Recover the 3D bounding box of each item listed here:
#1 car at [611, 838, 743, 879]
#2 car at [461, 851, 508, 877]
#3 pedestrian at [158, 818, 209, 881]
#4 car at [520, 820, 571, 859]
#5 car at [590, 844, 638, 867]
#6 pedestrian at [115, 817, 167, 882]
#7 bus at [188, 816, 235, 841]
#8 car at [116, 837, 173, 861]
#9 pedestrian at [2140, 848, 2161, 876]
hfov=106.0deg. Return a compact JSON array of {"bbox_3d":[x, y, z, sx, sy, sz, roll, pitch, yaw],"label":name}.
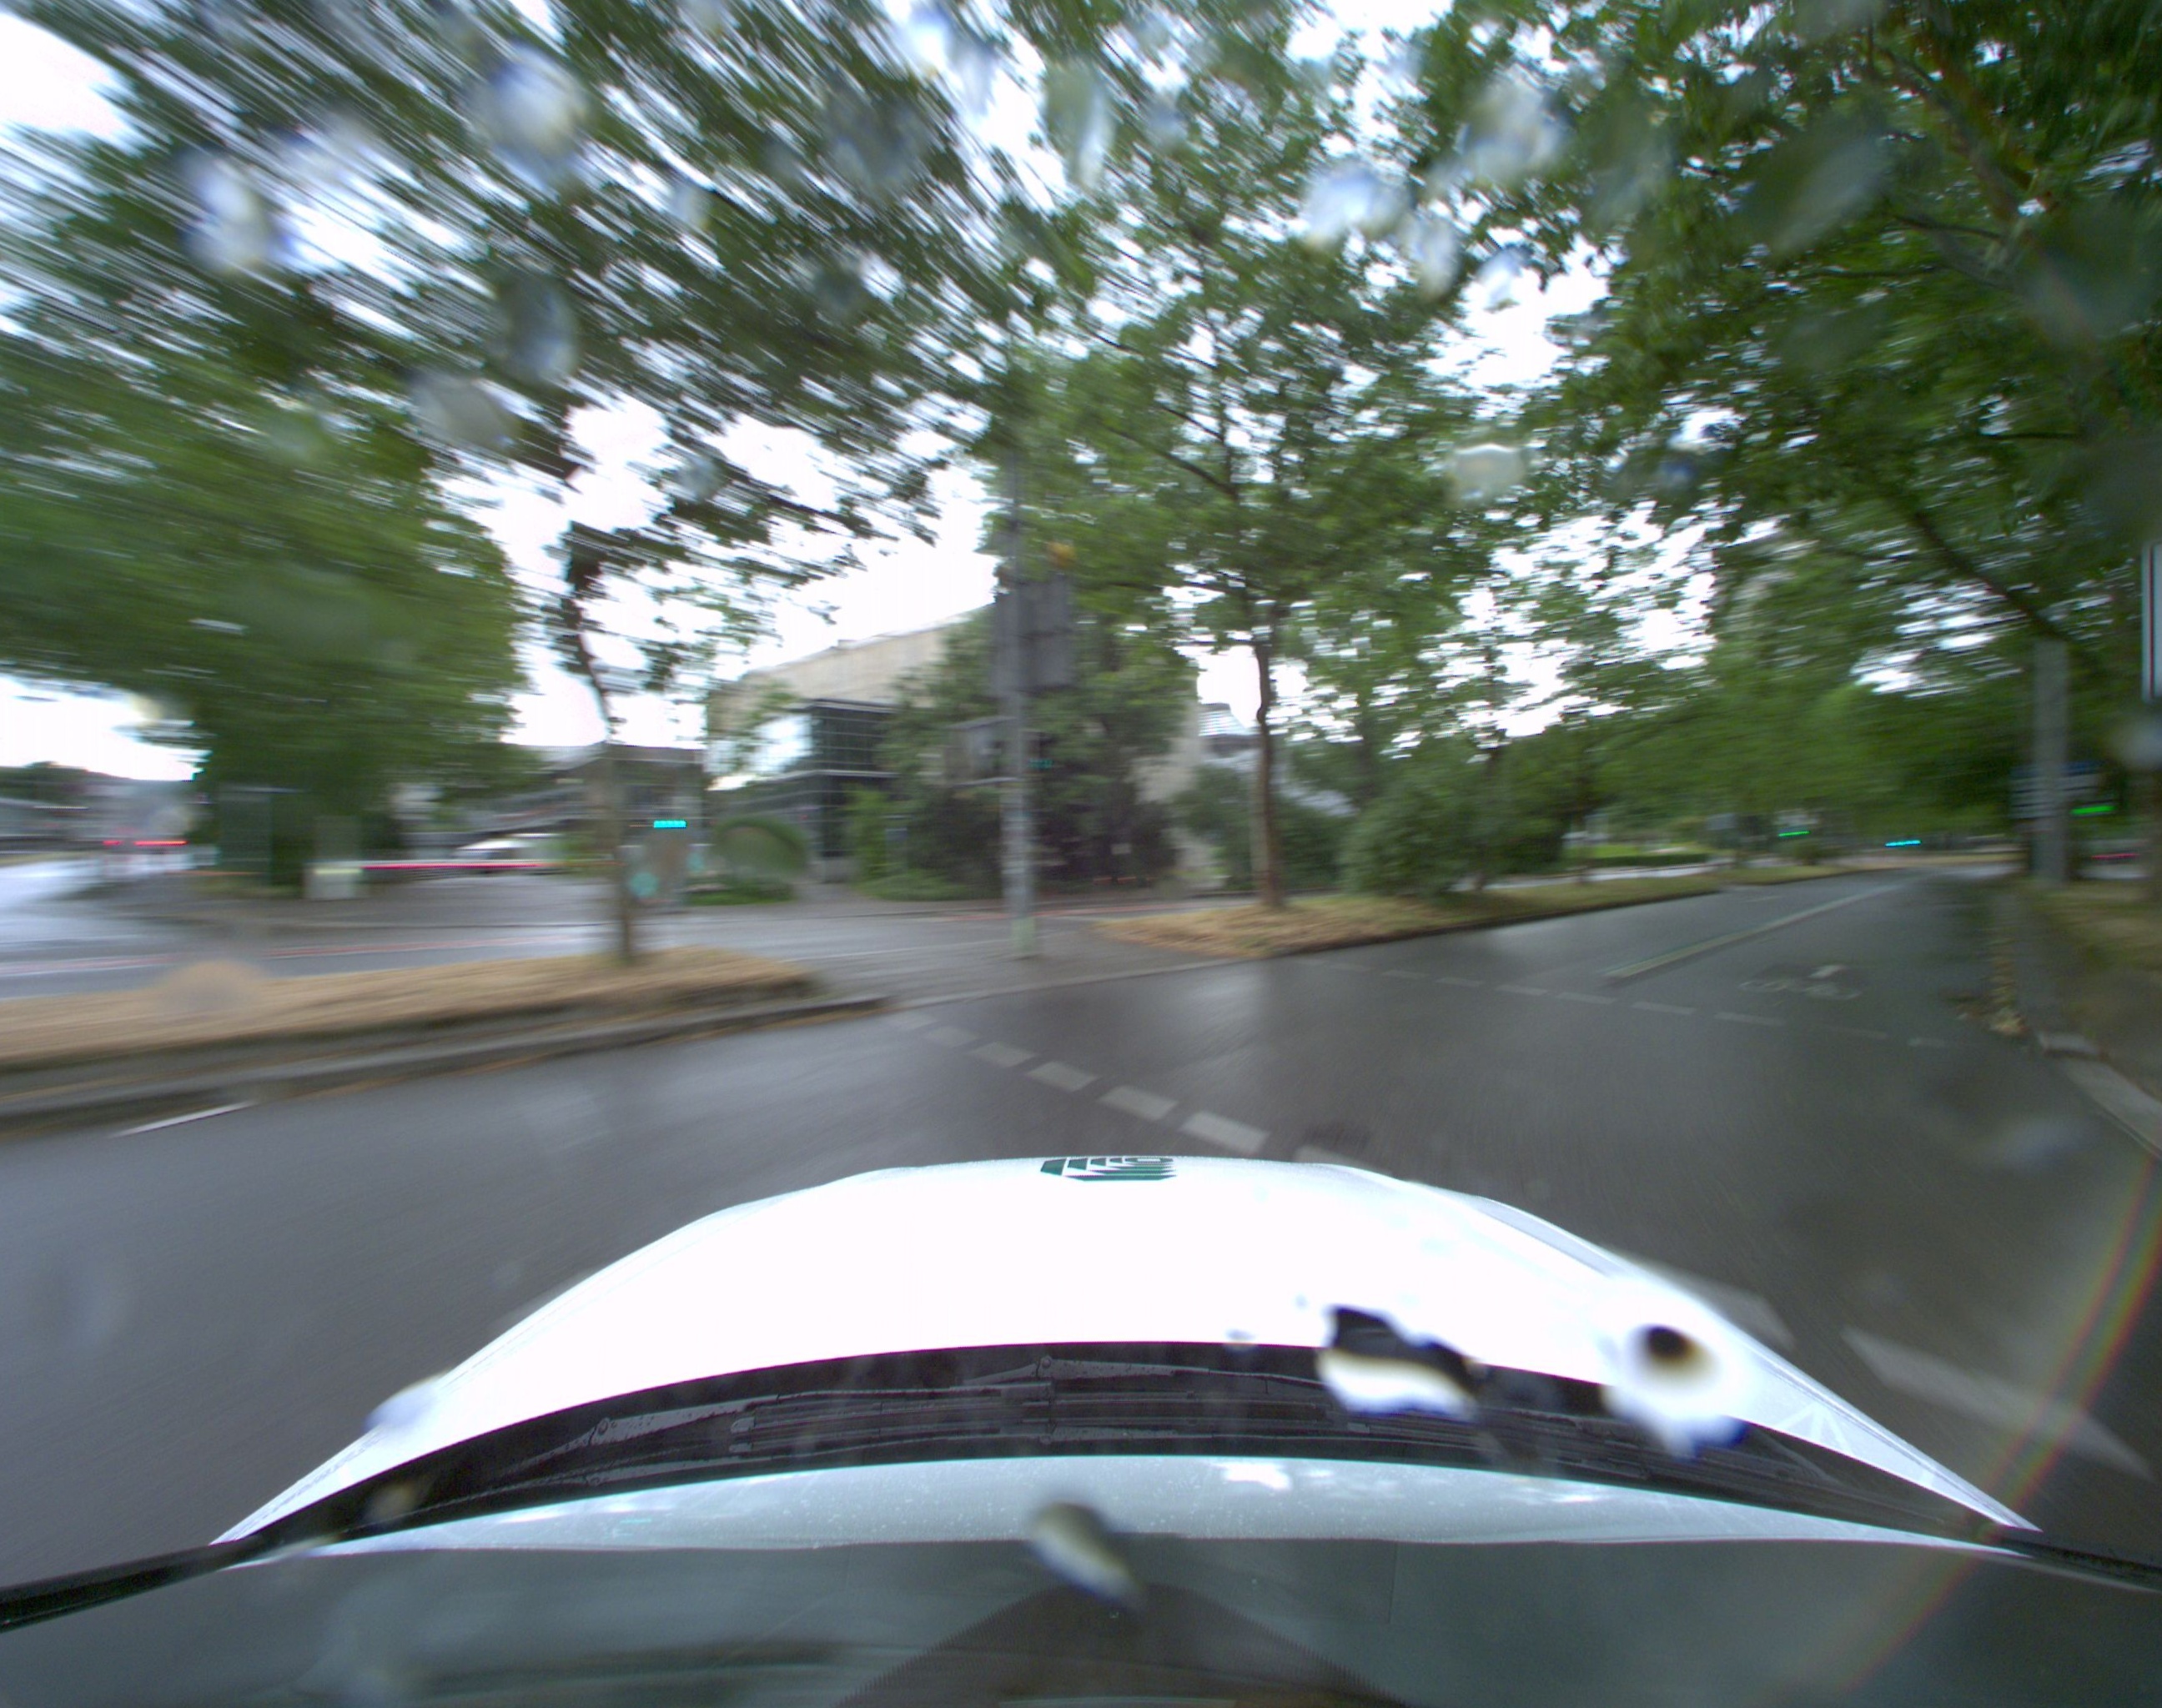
[{"bbox_3d":[-18.603,0.138,37.775,1.850,1.731,5.251,1,2,34],"label":"car"},{"bbox_3d":[-39.890,0.647,54.559,2.032,1.550,4.309,-1,2,-29],"label":"car"},{"bbox_3d":[-29.541,-0.168,26.823,0.881,2.013,1.065,-4,3,-39],"label":"pedestrian"},{"bbox_3d":[-38.965,-1.092,59.175,2.752,2.695,6.848,-1,2,-36],"label":"car"},{"bbox_3d":[-34.164,0.092,59.502,2.038,1.550,4.297,-2,2,-44],"label":"car"},{"bbox_3d":[-30.174,-0.146,26.165,0.821,2.013,1.065,-4,3,-39],"label":"pedestrian"},{"bbox_3d":[-116.989,-3.386,109.698,3.623,3.170,10.292,-5,4,-44],"label":"bus"},{"bbox_3d":[-64.455,-0.358,56.113,2.012,1.518,4.298,-4,4,-42],"label":"car"},{"bbox_3d":[64.162,0.469,48.836,0.940,1.639,0.697,0,0,-43],"label":"pedestrian"}]
